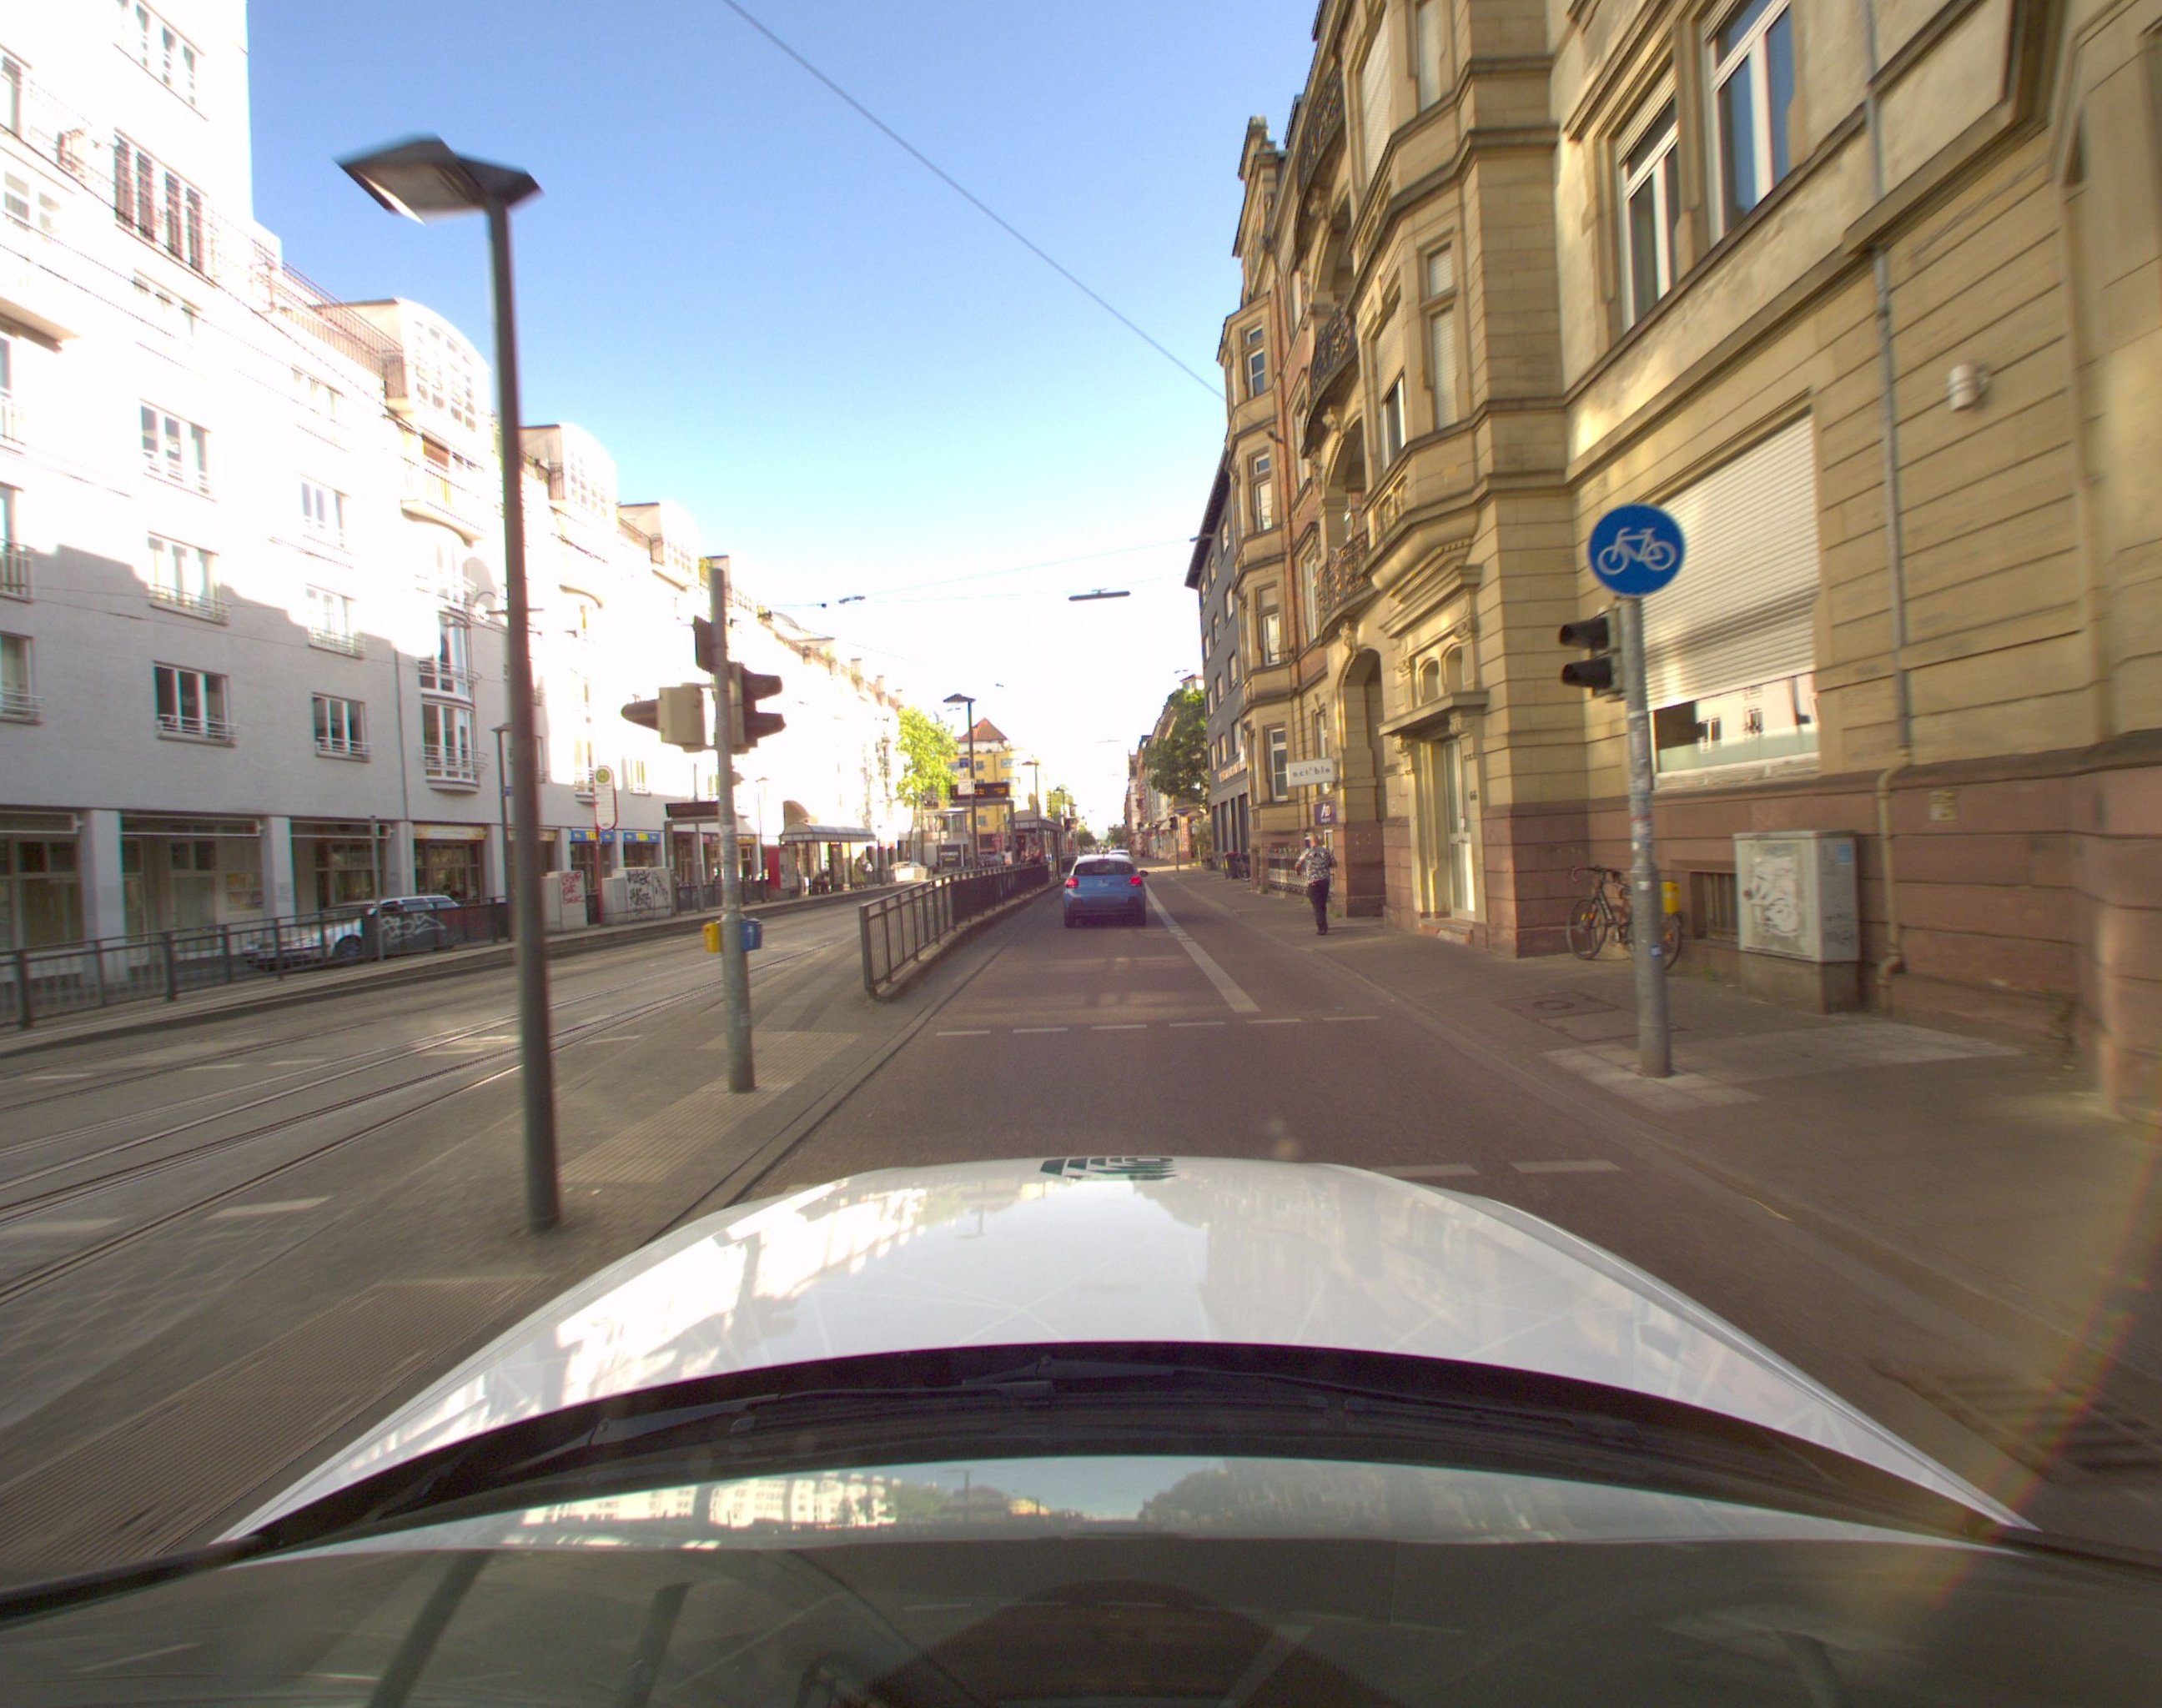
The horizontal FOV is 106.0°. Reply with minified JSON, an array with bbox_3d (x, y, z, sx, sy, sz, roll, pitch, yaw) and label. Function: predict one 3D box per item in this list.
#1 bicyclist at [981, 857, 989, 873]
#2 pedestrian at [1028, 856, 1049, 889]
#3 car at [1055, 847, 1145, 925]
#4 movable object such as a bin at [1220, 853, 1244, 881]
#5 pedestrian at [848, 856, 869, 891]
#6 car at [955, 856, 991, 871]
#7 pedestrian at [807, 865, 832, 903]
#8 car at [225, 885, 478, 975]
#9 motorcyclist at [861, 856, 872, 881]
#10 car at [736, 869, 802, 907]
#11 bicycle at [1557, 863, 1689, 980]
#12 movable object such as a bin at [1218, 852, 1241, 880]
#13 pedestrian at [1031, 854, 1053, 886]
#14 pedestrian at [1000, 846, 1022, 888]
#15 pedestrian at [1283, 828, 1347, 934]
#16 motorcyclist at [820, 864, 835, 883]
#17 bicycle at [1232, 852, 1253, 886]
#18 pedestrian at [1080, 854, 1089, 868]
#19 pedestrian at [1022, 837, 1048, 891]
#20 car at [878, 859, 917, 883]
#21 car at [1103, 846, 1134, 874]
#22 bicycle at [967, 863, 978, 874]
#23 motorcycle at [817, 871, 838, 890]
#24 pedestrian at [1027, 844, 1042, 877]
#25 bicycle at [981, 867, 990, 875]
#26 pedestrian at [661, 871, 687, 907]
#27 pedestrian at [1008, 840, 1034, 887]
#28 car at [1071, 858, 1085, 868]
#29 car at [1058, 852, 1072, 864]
[{"bbox_3d":[-10.108,1.150,85.977,0.669,1.557,0.779,-2,1,3],"label":"bicyclist"},{"bbox_3d":[-1.734,0.753,33.465,0.708,1.272,0.658,-3,1,4],"label":"pedestrian"},{"bbox_3d":[0.457,0.623,17.923,1.774,1.450,3.657,-1,1,2],"label":"car"},{"bbox_3d":[6.109,0.512,32.945,0.745,1.036,0.754,-6,1,2],"label":"movable object such as a bin"},{"bbox_3d":[-10.356,0.879,37.914,0.729,1.558,0.743,-2,2,1],"label":"pedestrian"},{"bbox_3d":[-12.904,1.134,97.780,3.976,1.674,1.957,-2,1,-2],"label":"car"},{"bbox_3d":[-10.855,1.244,33.865,0.729,1.527,0.743,-2,2,1],"label":"pedestrian"},{"bbox_3d":[-16.497,1.625,18.789,1.722,1.514,4.406,-2,1,1],"label":"car"},{"bbox_3d":[-13.481,0.908,51.166,0.485,1.502,0.723,-1,0,3],"label":"motorcyclist"},{"bbox_3d":[-15.501,1.654,40.623,1.684,1.509,3.649,-2,2,3],"label":"car"},{"bbox_3d":[5.560,0.638,8.460,0.254,1.052,1.770,-1,0,2],"label":"bicycle"},{"bbox_3d":[6.148,0.489,33.713,0.745,1.036,0.754,-6,1,2],"label":"movable object such as a bin"},{"bbox_3d":[-1.642,0.674,34.350,0.761,1.272,0.720,-3,1,4],"label":"pedestrian"},{"bbox_3d":[-2.647,0.504,30.866,0.579,1.561,0.473,-2,1,38],"label":"pedestrian"},{"bbox_3d":[4.082,0.440,14.270,0.777,1.749,1.093,-2,3,-1],"label":"pedestrian"},{"bbox_3d":[-14.993,1.137,48.184,0.556,1.074,0.828,-1,0,3],"label":"motorcyclist"},{"bbox_3d":[5.938,0.532,30.004,0.457,1.123,1.774,-4,1,3],"label":"bicycle"},{"bbox_3d":[0.376,0.891,100.944,0.842,1.654,0.691,-3,1,-26],"label":"pedestrian"},{"bbox_3d":[-1.471,0.323,26.073,0.632,1.697,0.936,-1,0,9],"label":"pedestrian"},{"bbox_3d":[-12.800,1.179,57.139,1.684,1.421,3.649,-2,2,3],"label":"car"},{"bbox_3d":[2.500,0.369,54.277,1.986,1.742,4.003,-1,0,2],"label":"car"},{"bbox_3d":[-11.873,1.548,88.940,0.676,1.002,2.689,-2,1,3],"label":"bicycle"},{"bbox_3d":[-14.985,1.566,48.199,0.556,1.074,1.846,-1,0,3],"label":"motorcycle"},{"bbox_3d":[-2.220,0.312,39.114,0.618,1.558,0.568,-2,1,2],"label":"pedestrian"},{"bbox_3d":[-10.090,1.823,86.000,0.564,0.757,1.939,-2,1,3],"label":"bicycle"},{"bbox_3d":[-19.239,1.628,38.479,0.840,1.621,0.597,-3,1,-3],"label":"pedestrian"},{"bbox_3d":[-2.307,0.361,31.352,0.710,1.777,0.569,-2,1,38],"label":"pedestrian"},{"bbox_3d":[-0.454,1.462,135.193,1.942,1.486,4.006,-4,1,5],"label":"car"},{"bbox_3d":[-2.344,0.562,119.242,1.747,1.615,4.828,-4,1,0],"label":"car"}]
